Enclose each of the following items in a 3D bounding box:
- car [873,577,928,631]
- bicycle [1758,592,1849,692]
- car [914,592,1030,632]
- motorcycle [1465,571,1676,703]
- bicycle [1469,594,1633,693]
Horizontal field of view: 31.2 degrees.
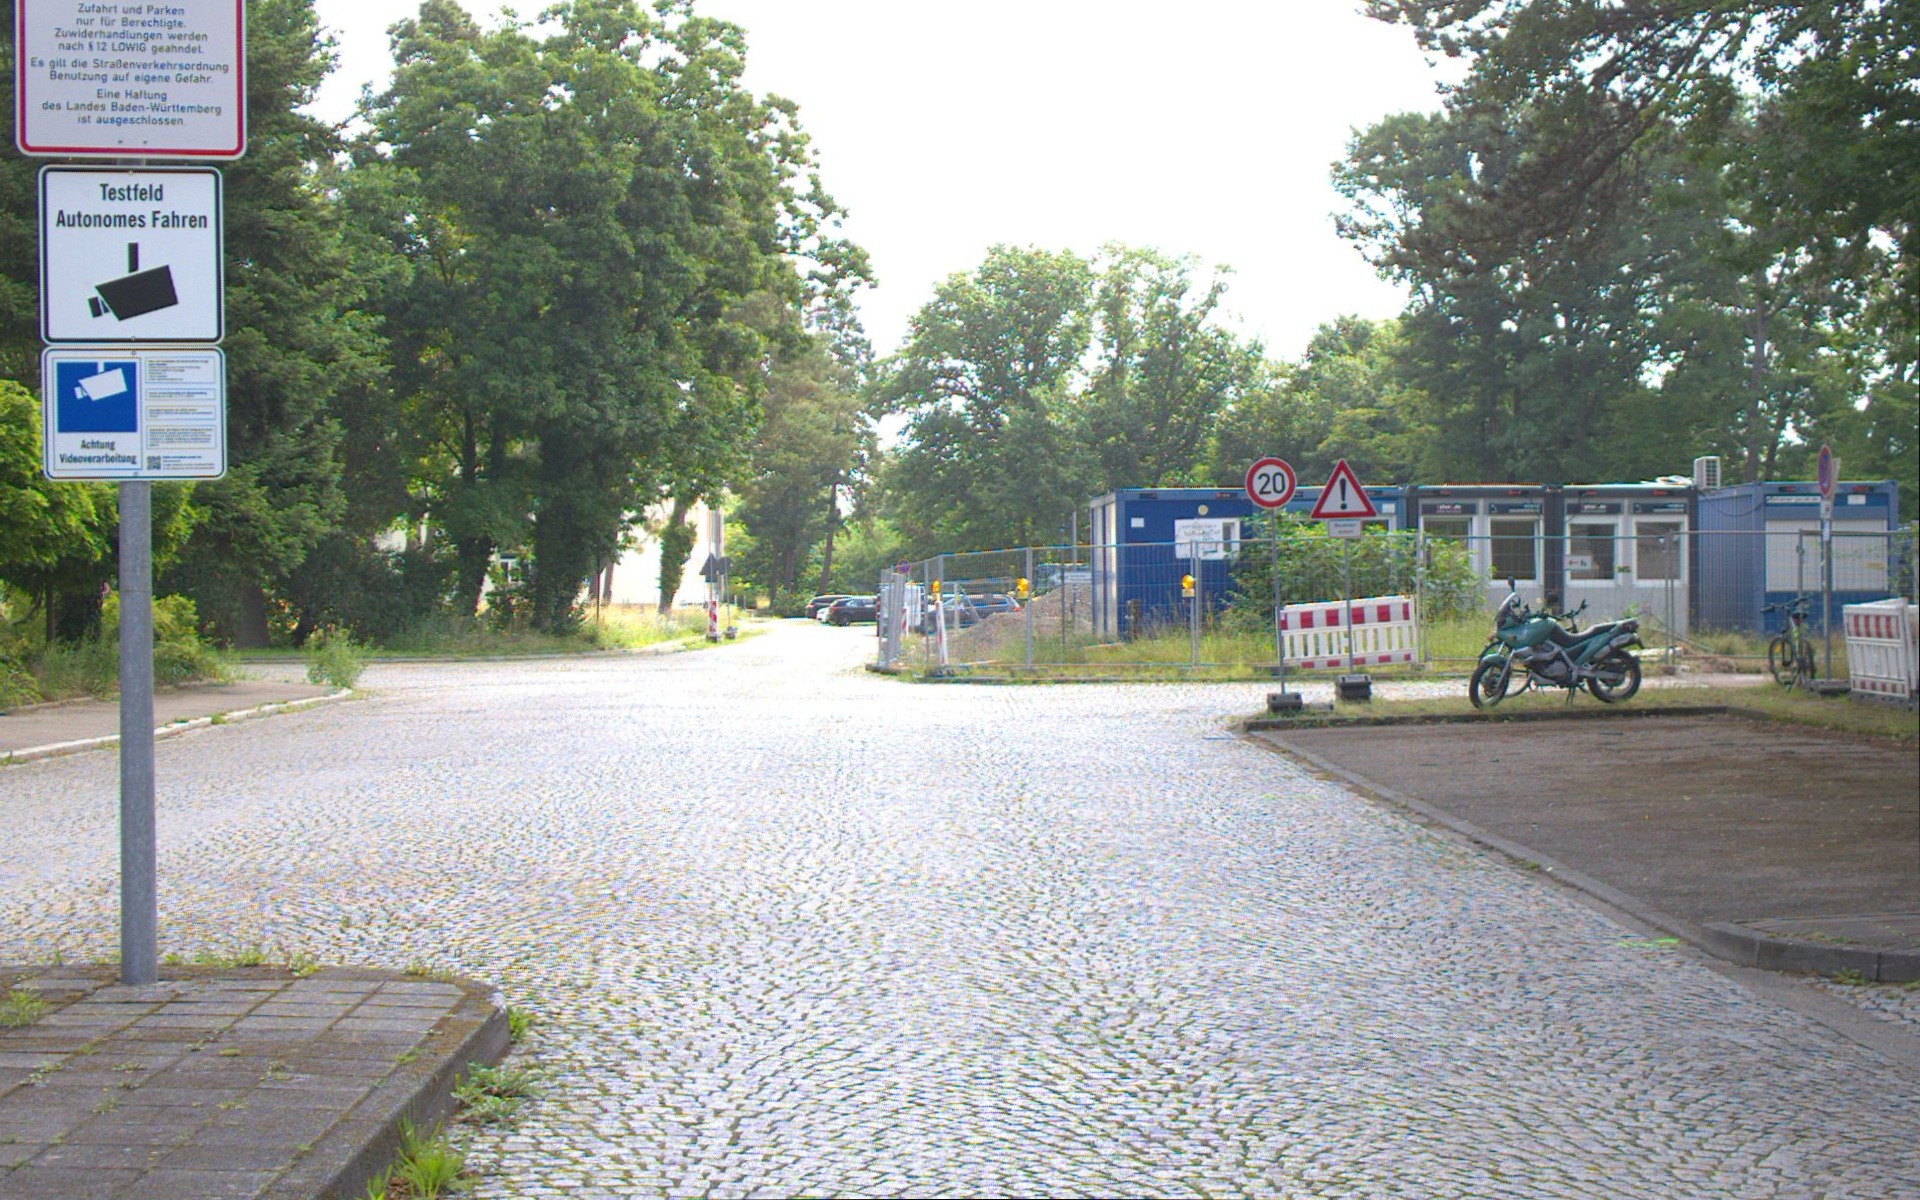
[{"bbox_3d":[-2.280,0.154,130.921,1.993,2.007,4.091,0,0,-2],"label":"car"},{"bbox_3d":[10.157,0.489,41.444,0.642,1.165,1.905,-1,0,1],"label":"bicycle"},{"bbox_3d":[0.493,0.468,136.726,4.404,1.505,1.999,1,0,7],"label":"car"},{"bbox_3d":[7.078,0.424,39.919,2.276,1.480,0.757,-1,0,-6],"label":"motorcycle"},{"bbox_3d":[7.283,0.540,42.365,1.900,1.193,0.655,-1,0,19],"label":"bicycle"}]
